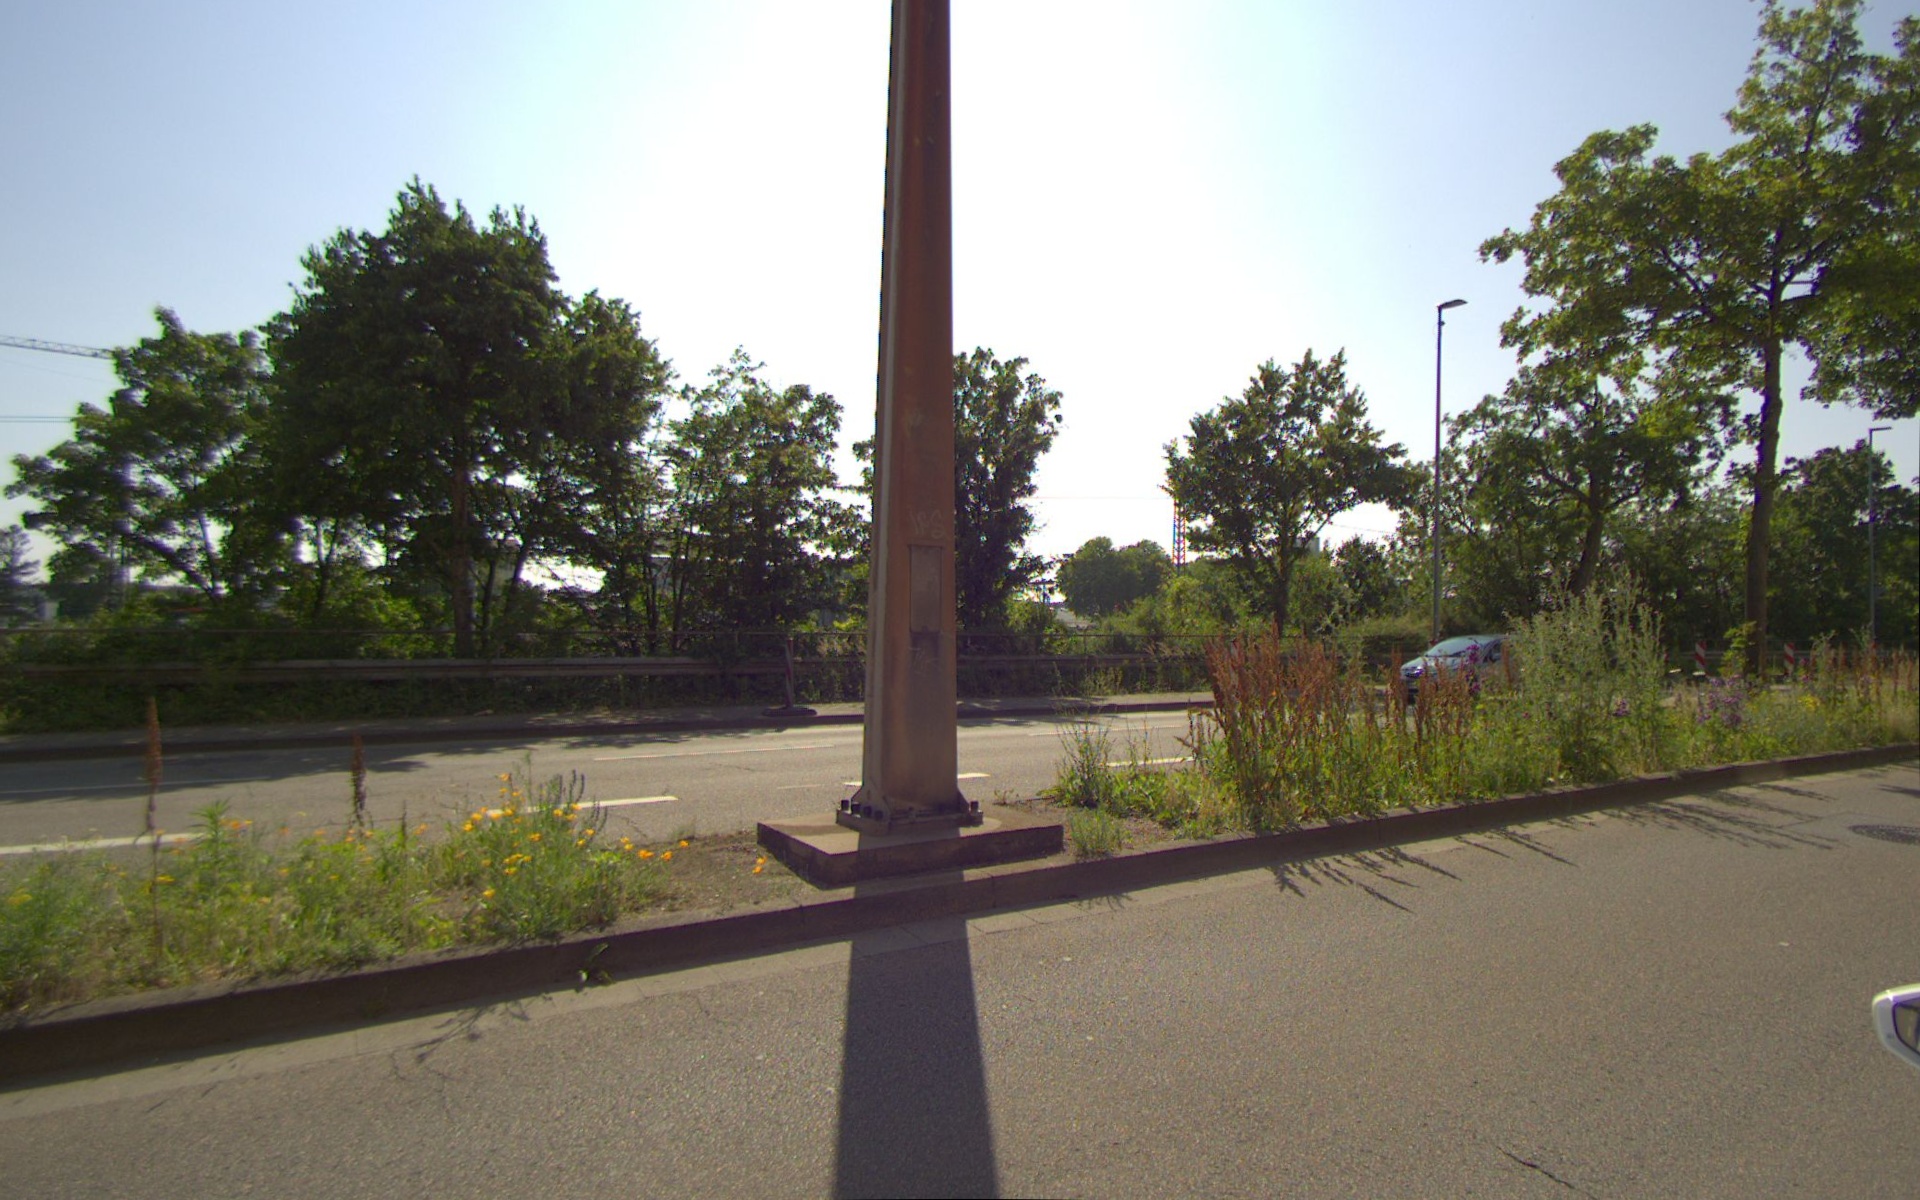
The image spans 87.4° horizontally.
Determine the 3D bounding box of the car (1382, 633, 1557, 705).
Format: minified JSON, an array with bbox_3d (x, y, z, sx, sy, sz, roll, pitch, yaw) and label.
[{"bbox_3d":[11.158,1.459,21.940,3.926,1.435,1.636,2,-2,-32],"label":"car"}]
